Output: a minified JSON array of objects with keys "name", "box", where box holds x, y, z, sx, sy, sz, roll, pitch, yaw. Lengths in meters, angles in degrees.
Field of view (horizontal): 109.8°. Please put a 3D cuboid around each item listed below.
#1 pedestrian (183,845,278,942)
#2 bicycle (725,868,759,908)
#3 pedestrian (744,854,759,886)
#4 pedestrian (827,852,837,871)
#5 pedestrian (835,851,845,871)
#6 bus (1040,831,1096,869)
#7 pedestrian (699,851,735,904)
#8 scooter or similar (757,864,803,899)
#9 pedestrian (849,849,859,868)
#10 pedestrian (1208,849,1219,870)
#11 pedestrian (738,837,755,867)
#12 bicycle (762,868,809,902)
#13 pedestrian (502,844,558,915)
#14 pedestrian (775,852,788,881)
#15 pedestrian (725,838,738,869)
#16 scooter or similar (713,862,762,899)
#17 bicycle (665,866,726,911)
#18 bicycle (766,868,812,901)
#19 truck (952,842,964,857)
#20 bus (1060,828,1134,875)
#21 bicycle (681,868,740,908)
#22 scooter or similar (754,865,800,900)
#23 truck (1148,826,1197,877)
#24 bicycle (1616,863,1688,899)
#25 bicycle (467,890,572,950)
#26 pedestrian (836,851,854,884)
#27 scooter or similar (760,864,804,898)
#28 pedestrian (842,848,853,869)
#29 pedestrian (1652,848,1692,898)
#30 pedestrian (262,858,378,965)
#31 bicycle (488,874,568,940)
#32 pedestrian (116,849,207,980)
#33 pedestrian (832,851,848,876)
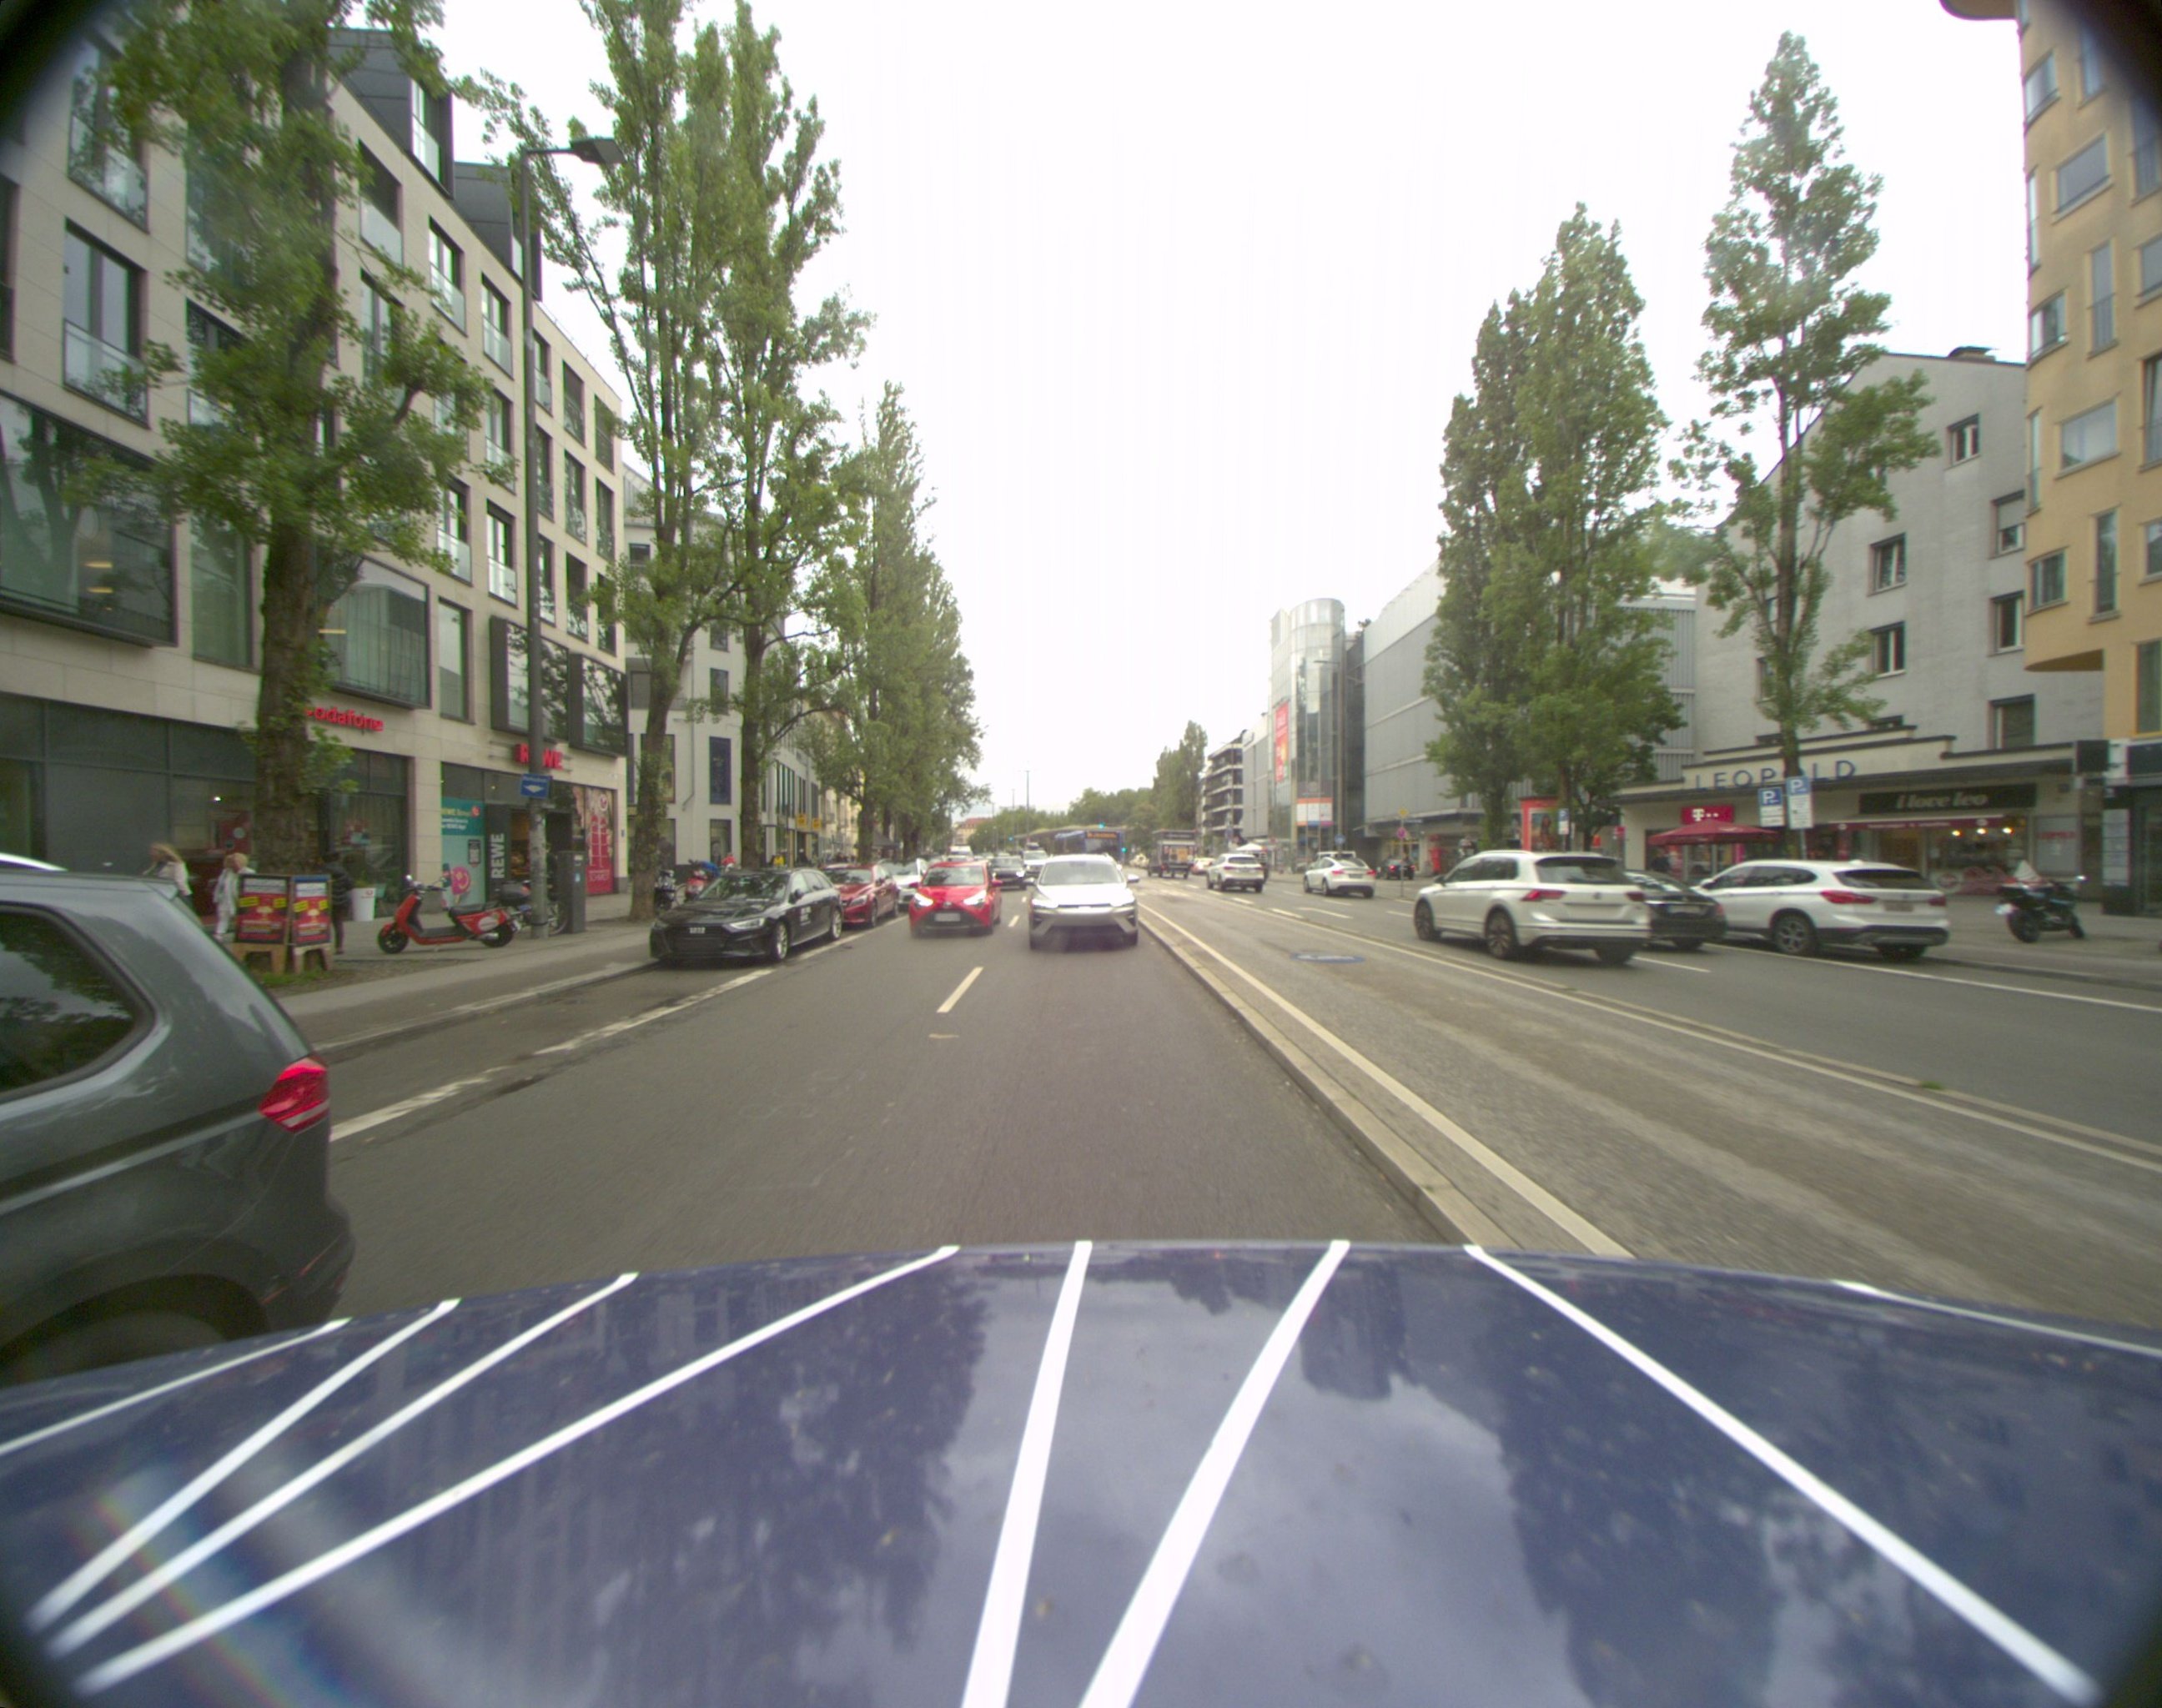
[{"name":"pedestrian","box":[-14.529,0.657,12.999,0.796,1.611,0.717,0,1,-4]},{"name":"bicycle","box":[-9.612,0.949,21.588,0.644,1.057,1.769,0,0,-15]},{"name":"pedestrian","box":[-16.119,0.769,37.206,0.491,1.558,0.569,0,1,-2]},{"name":"pedestrian","box":[-20.662,0.602,63.008,0.693,1.576,0.772,0,1,-11]},{"name":"pedestrian","box":[-19.780,0.592,62.347,0.693,1.639,0.797,0,1,-11]},{"name":"bus","box":[-1.273,-0.385,64.647,2.944,2.927,11.201,-1,1,-10]},{"name":"pedestrian","box":[-11.439,0.721,23.877,0.792,1.610,0.613,1,1,16]},{"name":"scooter or similar","box":[-10.514,0.967,26.547,1.439,1.194,0.311,0,1,-7]},{"name":"pedestrian","box":[-18.694,0.332,62.468,0.684,1.549,0.749,0,1,-9]},{"name":"pedestrian","box":[12.097,0.483,69.434,0.788,1.856,0.846,0,1,-2]},{"name":"pedestrian","box":[-17.720,-0.107,40.277,0.548,1.615,0.508,-1,2,13]},{"name":"bicycle","box":[-10.623,1.118,27.340,1.483,1.200,0.535,0,1,-6]},{"name":"pedestrian","box":[-14.651,0.661,20.233,0.819,1.858,0.938,1,1,-2]},{"name":"pedestrian","box":[-16.475,0.687,41.863,0.491,1.625,0.569,0,1,-2]},{"name":"pedestrian","box":[-18.081,-0.027,39.325,0.549,1.615,0.506,-2,2,-22]},{"name":"scooter or similar","box":[-11.550,0.884,25.552,1.388,1.204,0.554,0,1,0]},{"name":"bicycle","box":[-10.907,0.959,21.538,0.546,1.182,1.457,1,1,31]},{"name":"bicycle","box":[-10.705,1.121,27.885,1.483,1.200,0.535,0,1,-6]},{"name":"truck","box":[-29.077,-1.151,179.199,2.543,3.468,7.743,0,0,-11]},{"name":"bus","box":[0.846,-0.230,52.955,2.944,2.927,11.201,-1,1,-10]},{"name":"bicycle","box":[-11.355,1.021,23.293,1.764,1.165,0.452,0,1,16]},{"name":"scooter or similar","box":[-10.468,0.977,26.174,1.439,1.194,0.311,0,1,-7]},{"name":"truck","box":[6.328,-0.181,53.337,2.297,3.303,7.155,1,0,-2]},{"name":"bicycle","box":[21.825,1.009,29.104,0.849,1.300,2.302,0,0,-5]},{"name":"bicycle","box":[-10.156,1.164,13.826,0.434,0.935,1.763,1,0,7]},{"name":"pedestrian","box":[-11.987,0.670,38.536,0.716,1.666,0.783,1,1,-6]},{"name":"scooter or similar","box":[-10.576,0.962,26.889,1.439,1.194,0.311,0,1,-7]},{"name":"pedestrian","box":[-18.035,0.352,58.615,0.684,1.549,0.749,0,1,-9]},{"name":"pedestrian","box":[22.626,0.728,29.108,0.860,1.888,0.832,0,1,-8]},{"name":"pedestrian","box":[-11.640,0.844,11.667,0.836,1.567,0.937,0,1,-6]},{"name":"bicycle","box":[-10.834,1.003,14.939,0.456,1.181,1.714,0,0,-5]},{"name":"pedestrian","box":[-12.897,0.810,10.664,0.794,1.762,0.683,1,1,30]},{"name":"pedestrian","box":[-15.473,0.593,48.757,0.802,1.627,1.023,0,1,-7]}]
